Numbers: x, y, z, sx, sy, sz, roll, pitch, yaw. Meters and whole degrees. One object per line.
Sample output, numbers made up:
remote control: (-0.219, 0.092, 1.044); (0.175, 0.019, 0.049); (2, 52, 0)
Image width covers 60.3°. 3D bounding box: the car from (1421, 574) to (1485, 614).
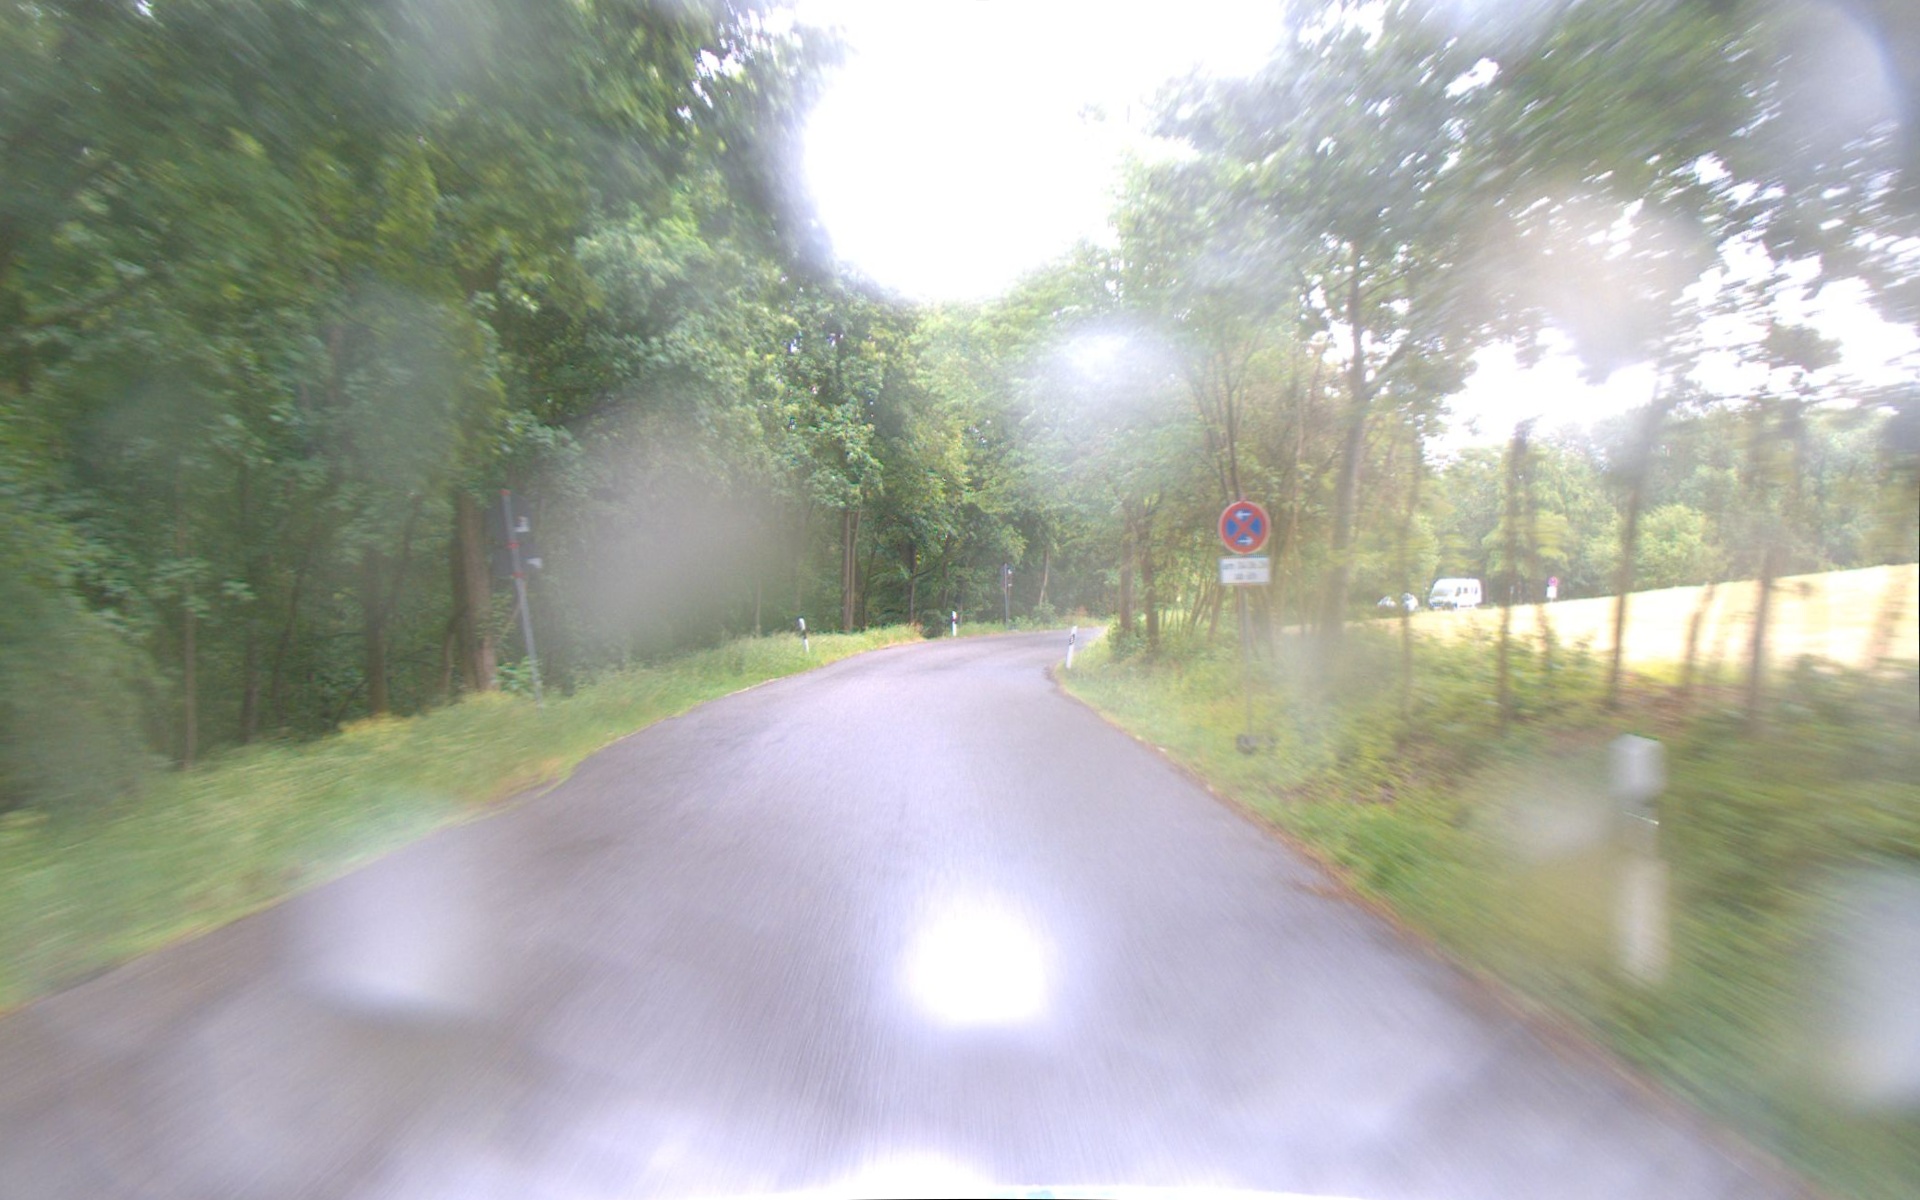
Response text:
car: (36.565, -0.443, 122.624); (2.238, 2.744, 6.016); (-2, 0, 41)
